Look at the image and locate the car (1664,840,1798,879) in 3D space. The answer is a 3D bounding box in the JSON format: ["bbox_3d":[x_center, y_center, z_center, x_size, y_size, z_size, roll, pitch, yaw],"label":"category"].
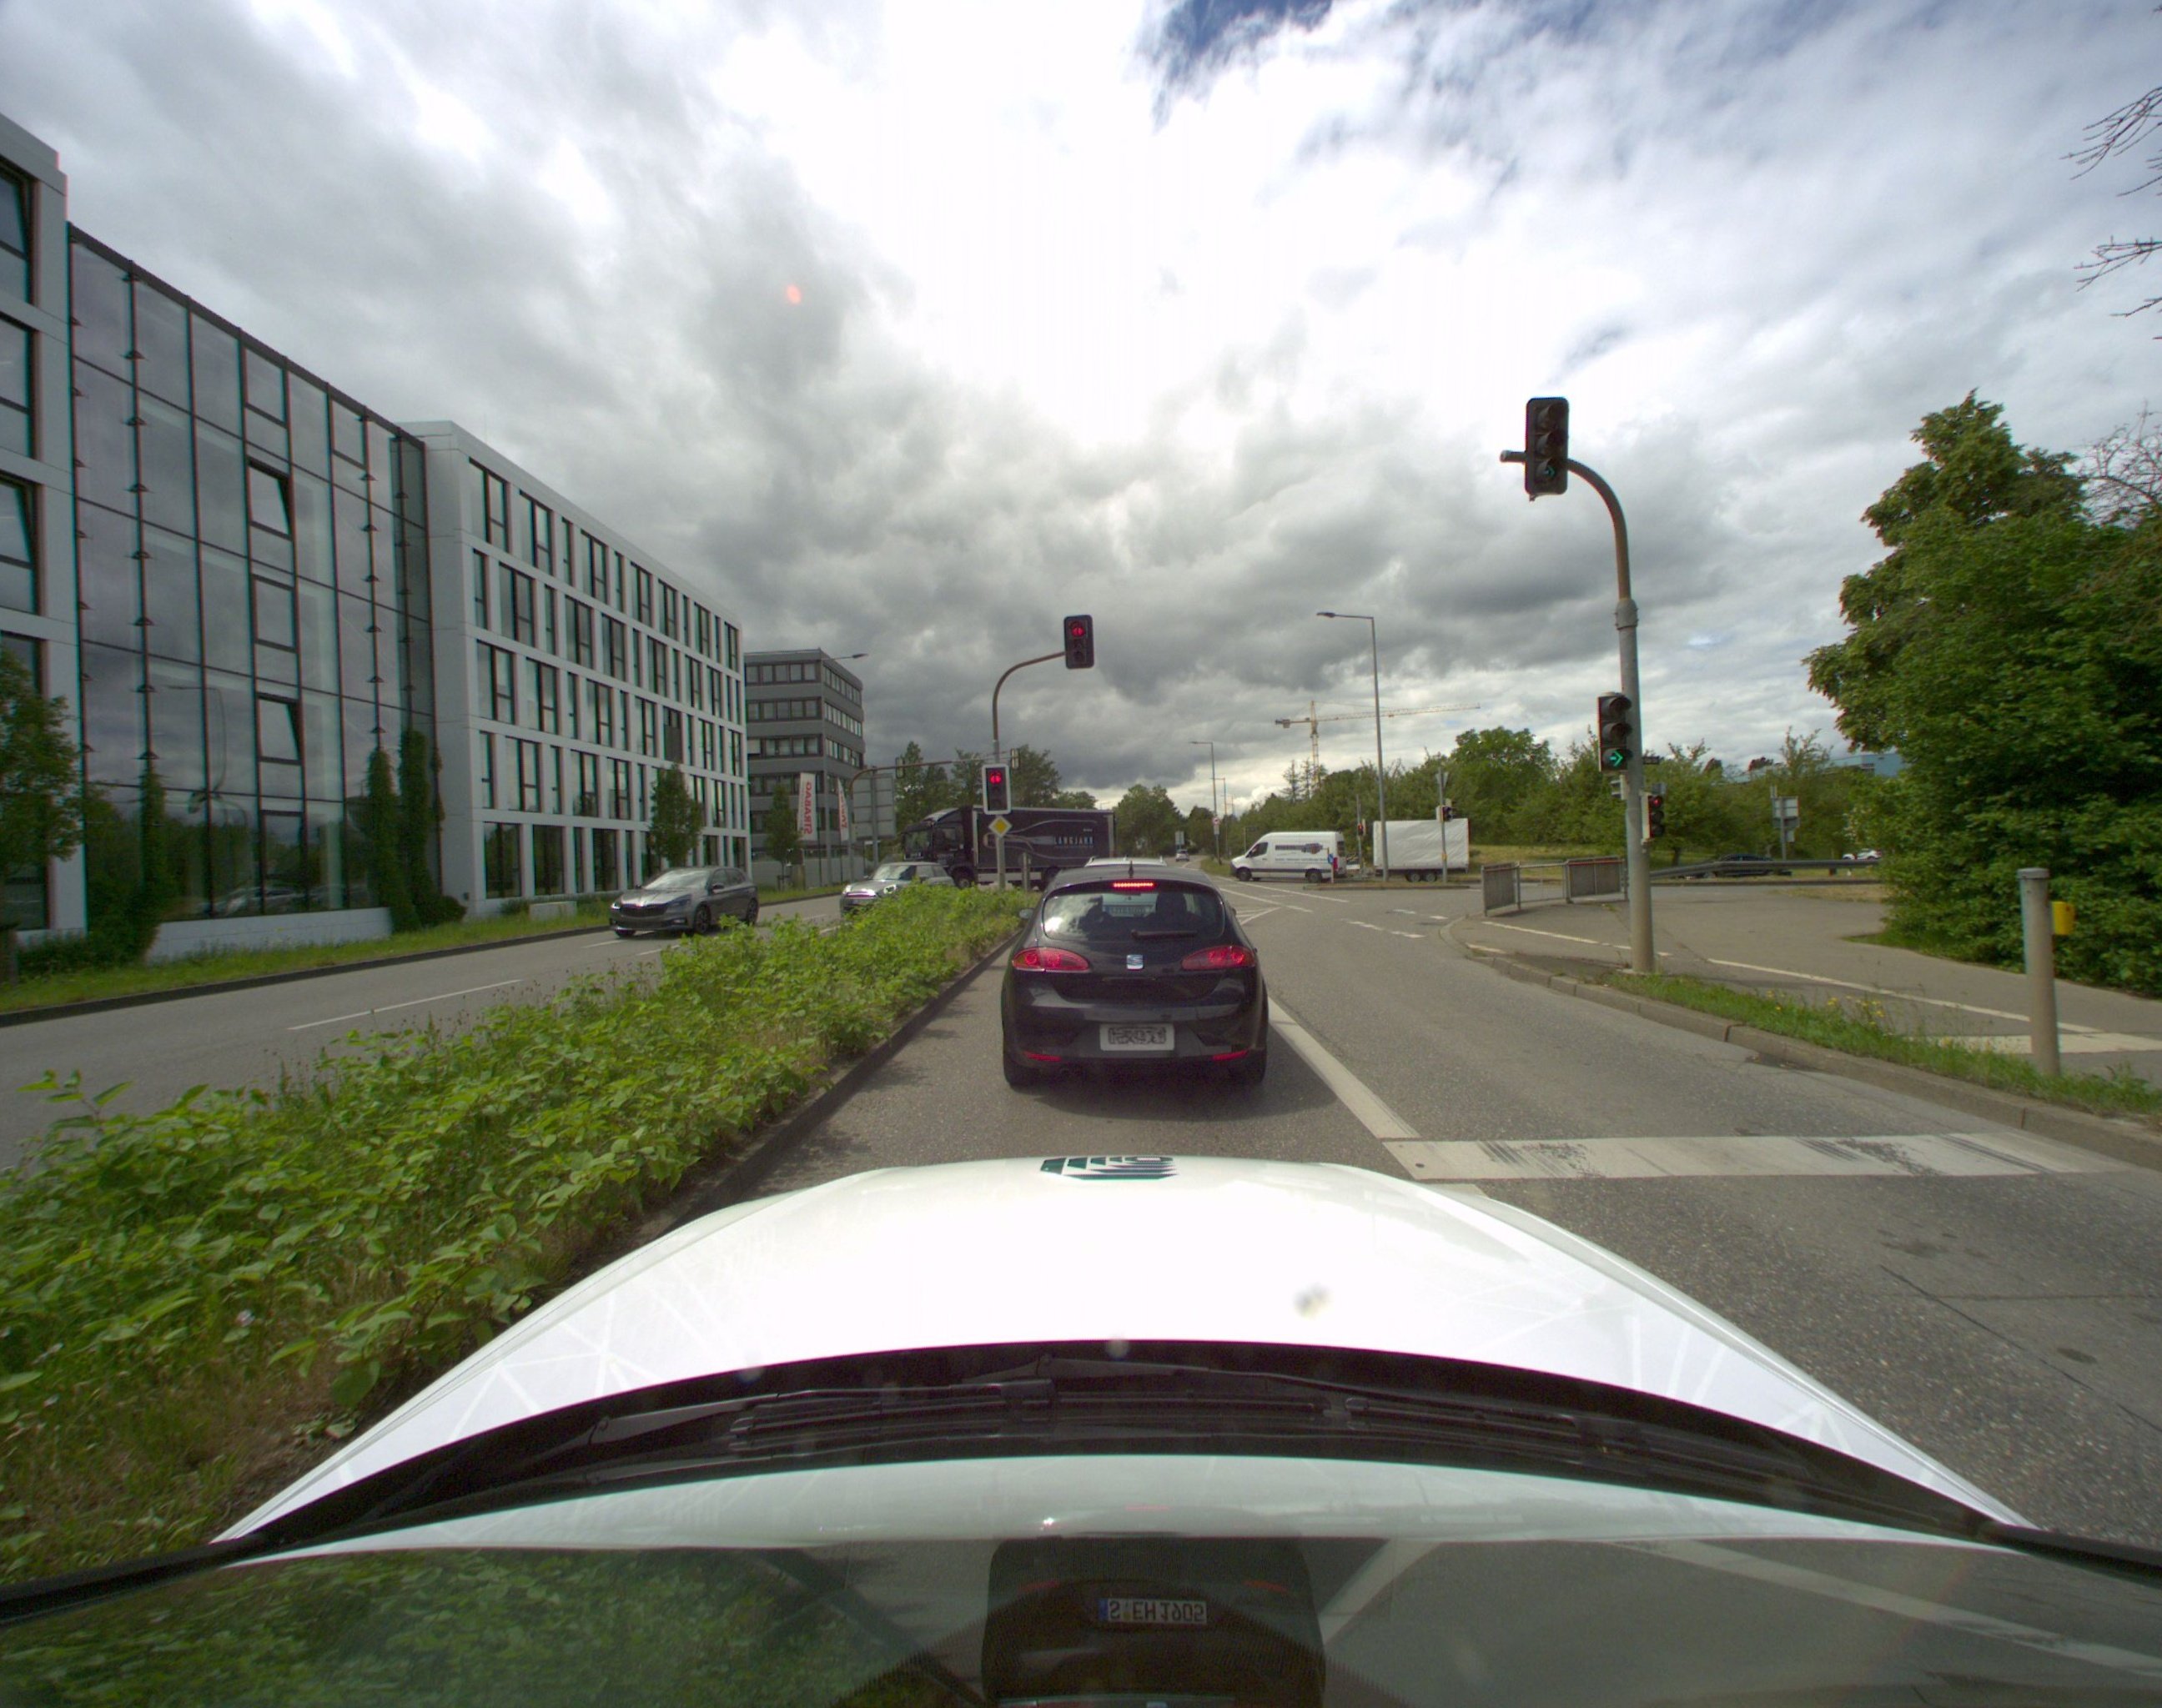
[{"bbox_3d":[29.629,0.242,37.241,4.436,1.565,2.002,-2,0,4],"label":"car"}]

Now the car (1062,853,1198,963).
[{"bbox_3d":[0.762,0.747,12.847,1.827,1.467,3.754,0,0,3],"label":"car"}]

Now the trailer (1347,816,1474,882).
[{"bbox_3d":[15.827,-0.206,39.516,5.525,3.073,2.510,-1,-1,17],"label":"trailer"}]

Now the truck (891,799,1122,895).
[{"bbox_3d":[-2.877,-0.287,34.251,9.573,3.518,3.141,0,0,-39],"label":"truck"}]

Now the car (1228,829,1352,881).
[{"bbox_3d":[10.703,0.063,41.889,5.760,2.518,2.147,-1,-1,30],"label":"car"}]

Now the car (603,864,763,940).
[{"bbox_3d":[-8.536,0.964,17.845,1.548,1.383,3.780,-2,0,0],"label":"car"}]

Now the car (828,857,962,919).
[{"bbox_3d":[-4.797,0.844,21.478,1.675,1.430,3.654,-2,0,20],"label":"car"}]

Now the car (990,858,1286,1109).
[{"bbox_3d":[0.389,0.763,6.459,1.704,1.417,3.461,-1,0,2],"label":"car"}]

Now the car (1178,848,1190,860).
[{"bbox_3d":[14.137,-0.005,111.828,1.658,1.596,4.008,0,-1,8],"label":"car"}]
